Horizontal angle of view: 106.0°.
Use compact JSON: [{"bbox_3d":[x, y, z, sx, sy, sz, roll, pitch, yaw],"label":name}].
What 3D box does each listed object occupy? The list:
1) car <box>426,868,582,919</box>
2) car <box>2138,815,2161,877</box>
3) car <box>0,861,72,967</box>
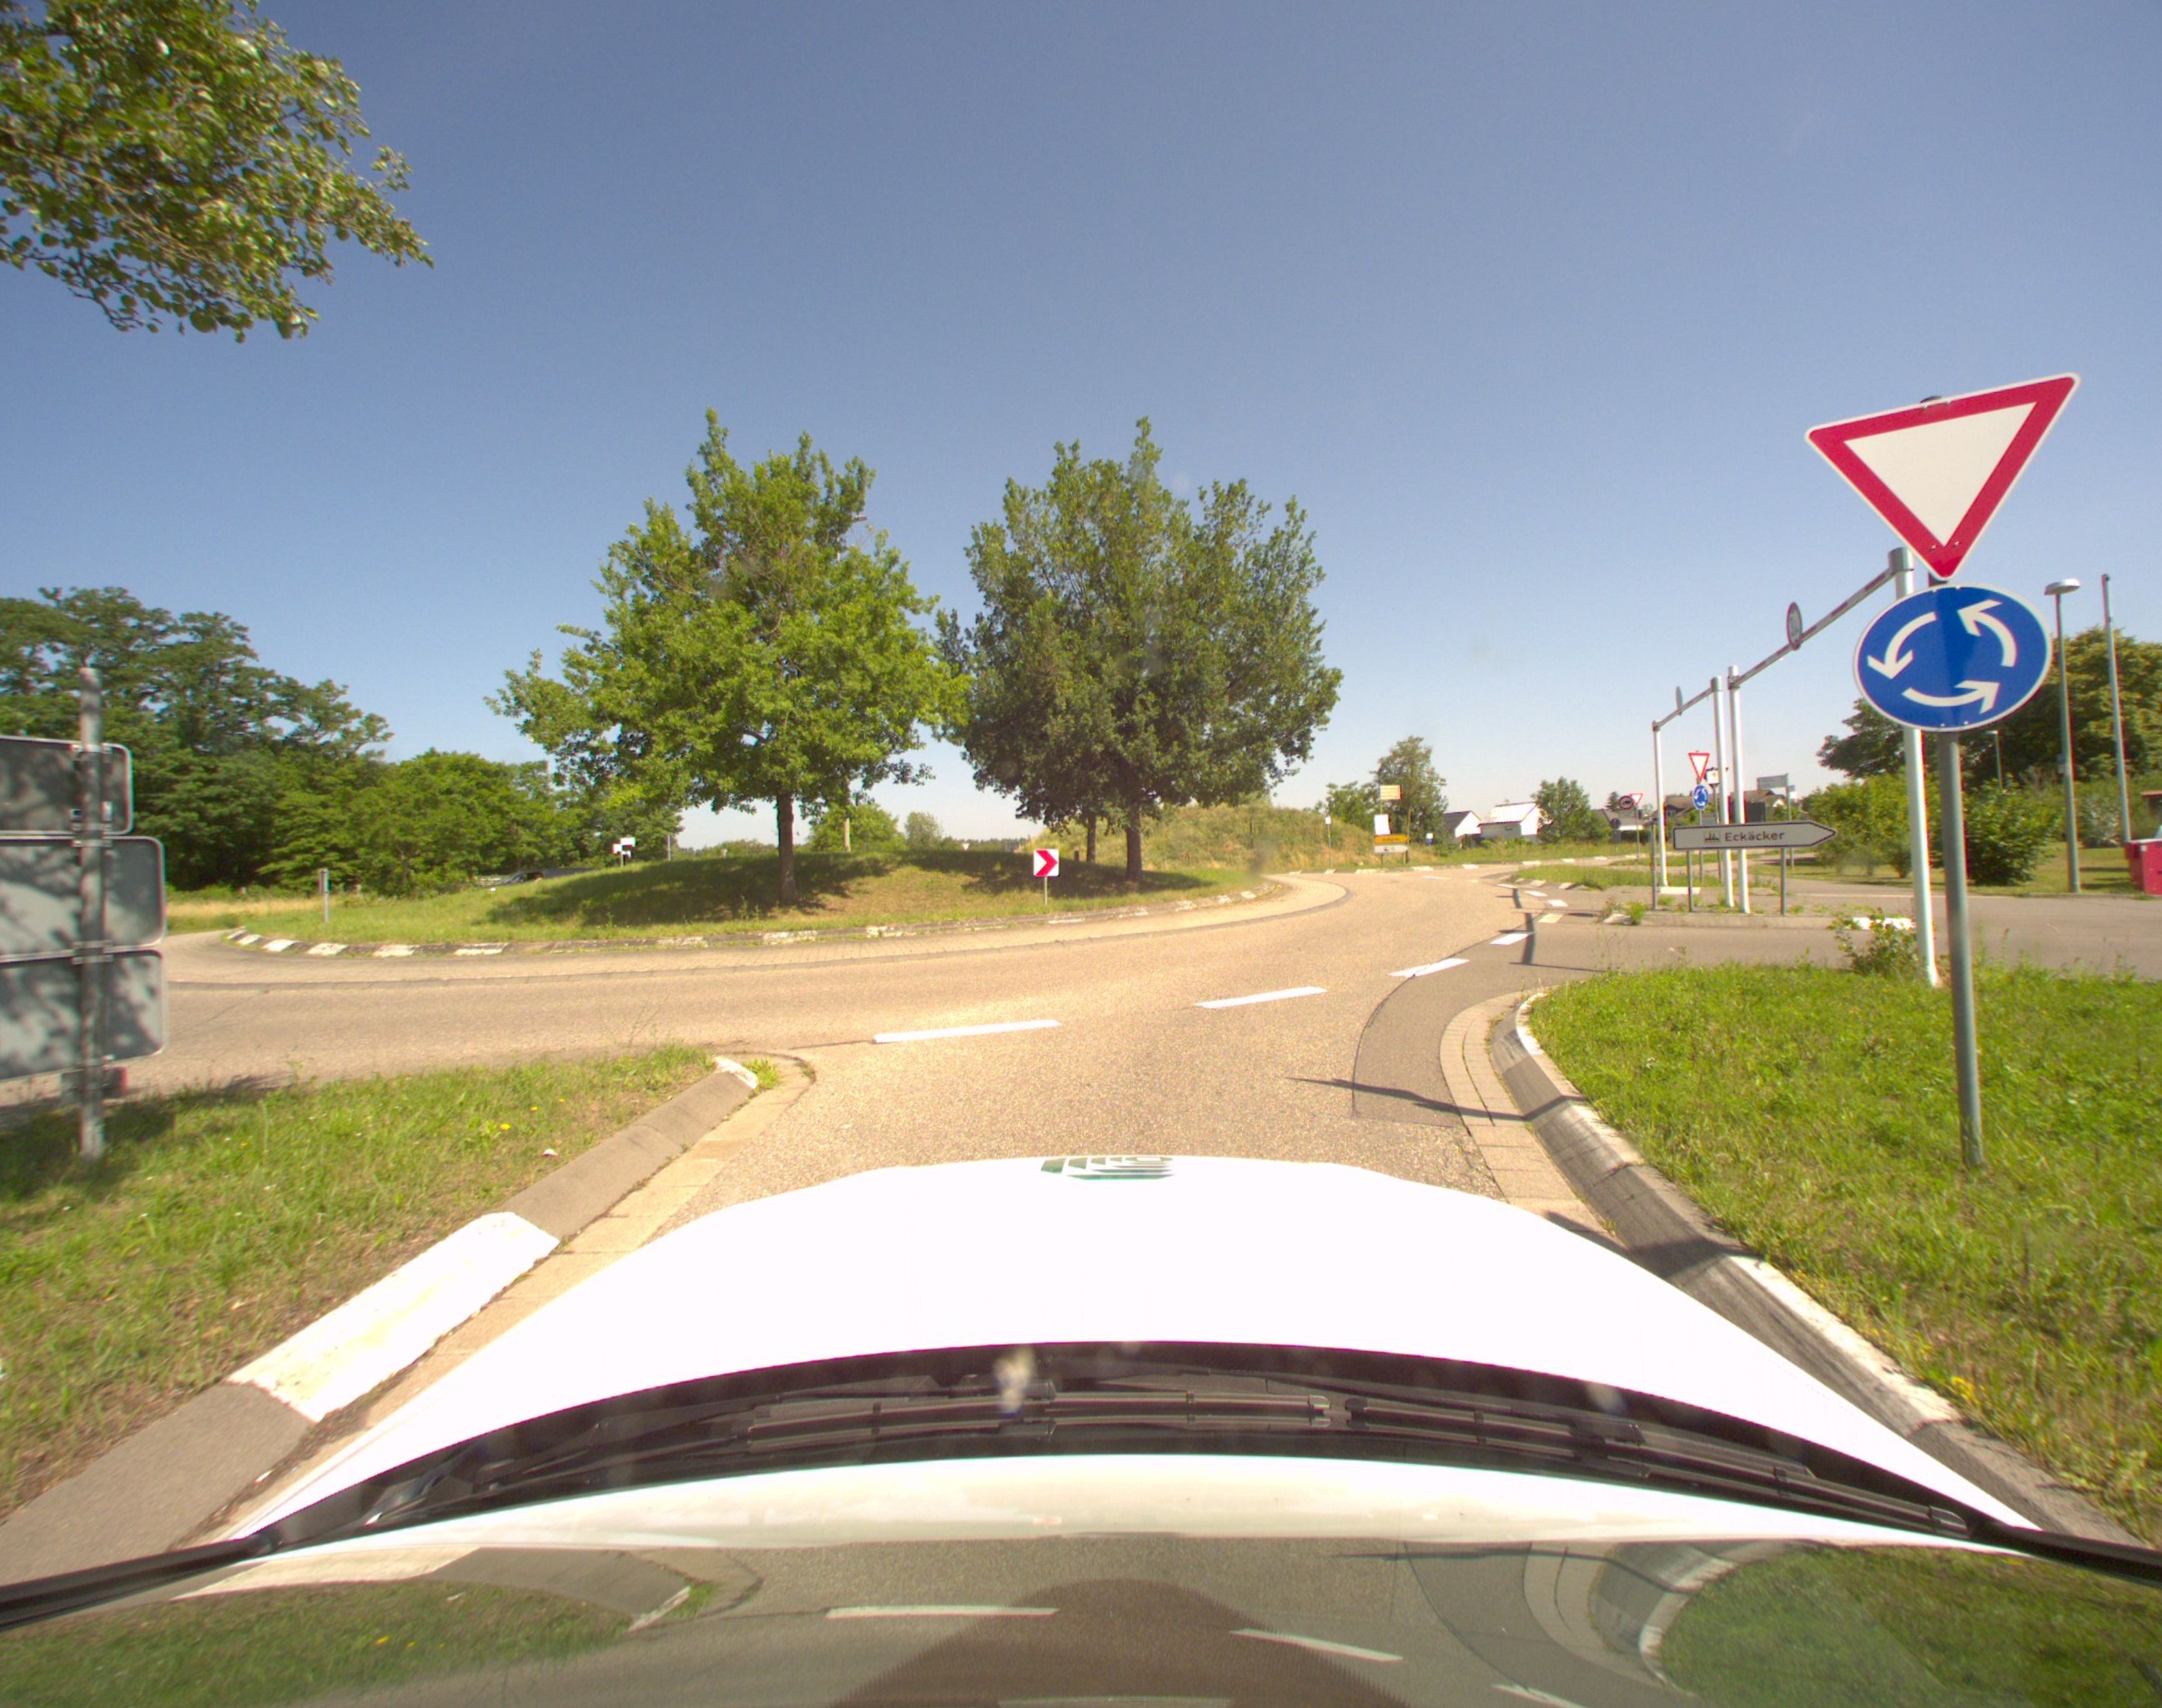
[{"bbox_3d":[-22.905,1.502,32.446,2.075,1.714,4.746,-2,0,45],"label":"car"},{"bbox_3d":[27.028,-0.218,18.339,1.731,1.446,3.735,-2,1,-30],"label":"car"},{"bbox_3d":[-19.344,1.063,13.369,1.905,1.816,4.552,-2,0,-30],"label":"car"}]
